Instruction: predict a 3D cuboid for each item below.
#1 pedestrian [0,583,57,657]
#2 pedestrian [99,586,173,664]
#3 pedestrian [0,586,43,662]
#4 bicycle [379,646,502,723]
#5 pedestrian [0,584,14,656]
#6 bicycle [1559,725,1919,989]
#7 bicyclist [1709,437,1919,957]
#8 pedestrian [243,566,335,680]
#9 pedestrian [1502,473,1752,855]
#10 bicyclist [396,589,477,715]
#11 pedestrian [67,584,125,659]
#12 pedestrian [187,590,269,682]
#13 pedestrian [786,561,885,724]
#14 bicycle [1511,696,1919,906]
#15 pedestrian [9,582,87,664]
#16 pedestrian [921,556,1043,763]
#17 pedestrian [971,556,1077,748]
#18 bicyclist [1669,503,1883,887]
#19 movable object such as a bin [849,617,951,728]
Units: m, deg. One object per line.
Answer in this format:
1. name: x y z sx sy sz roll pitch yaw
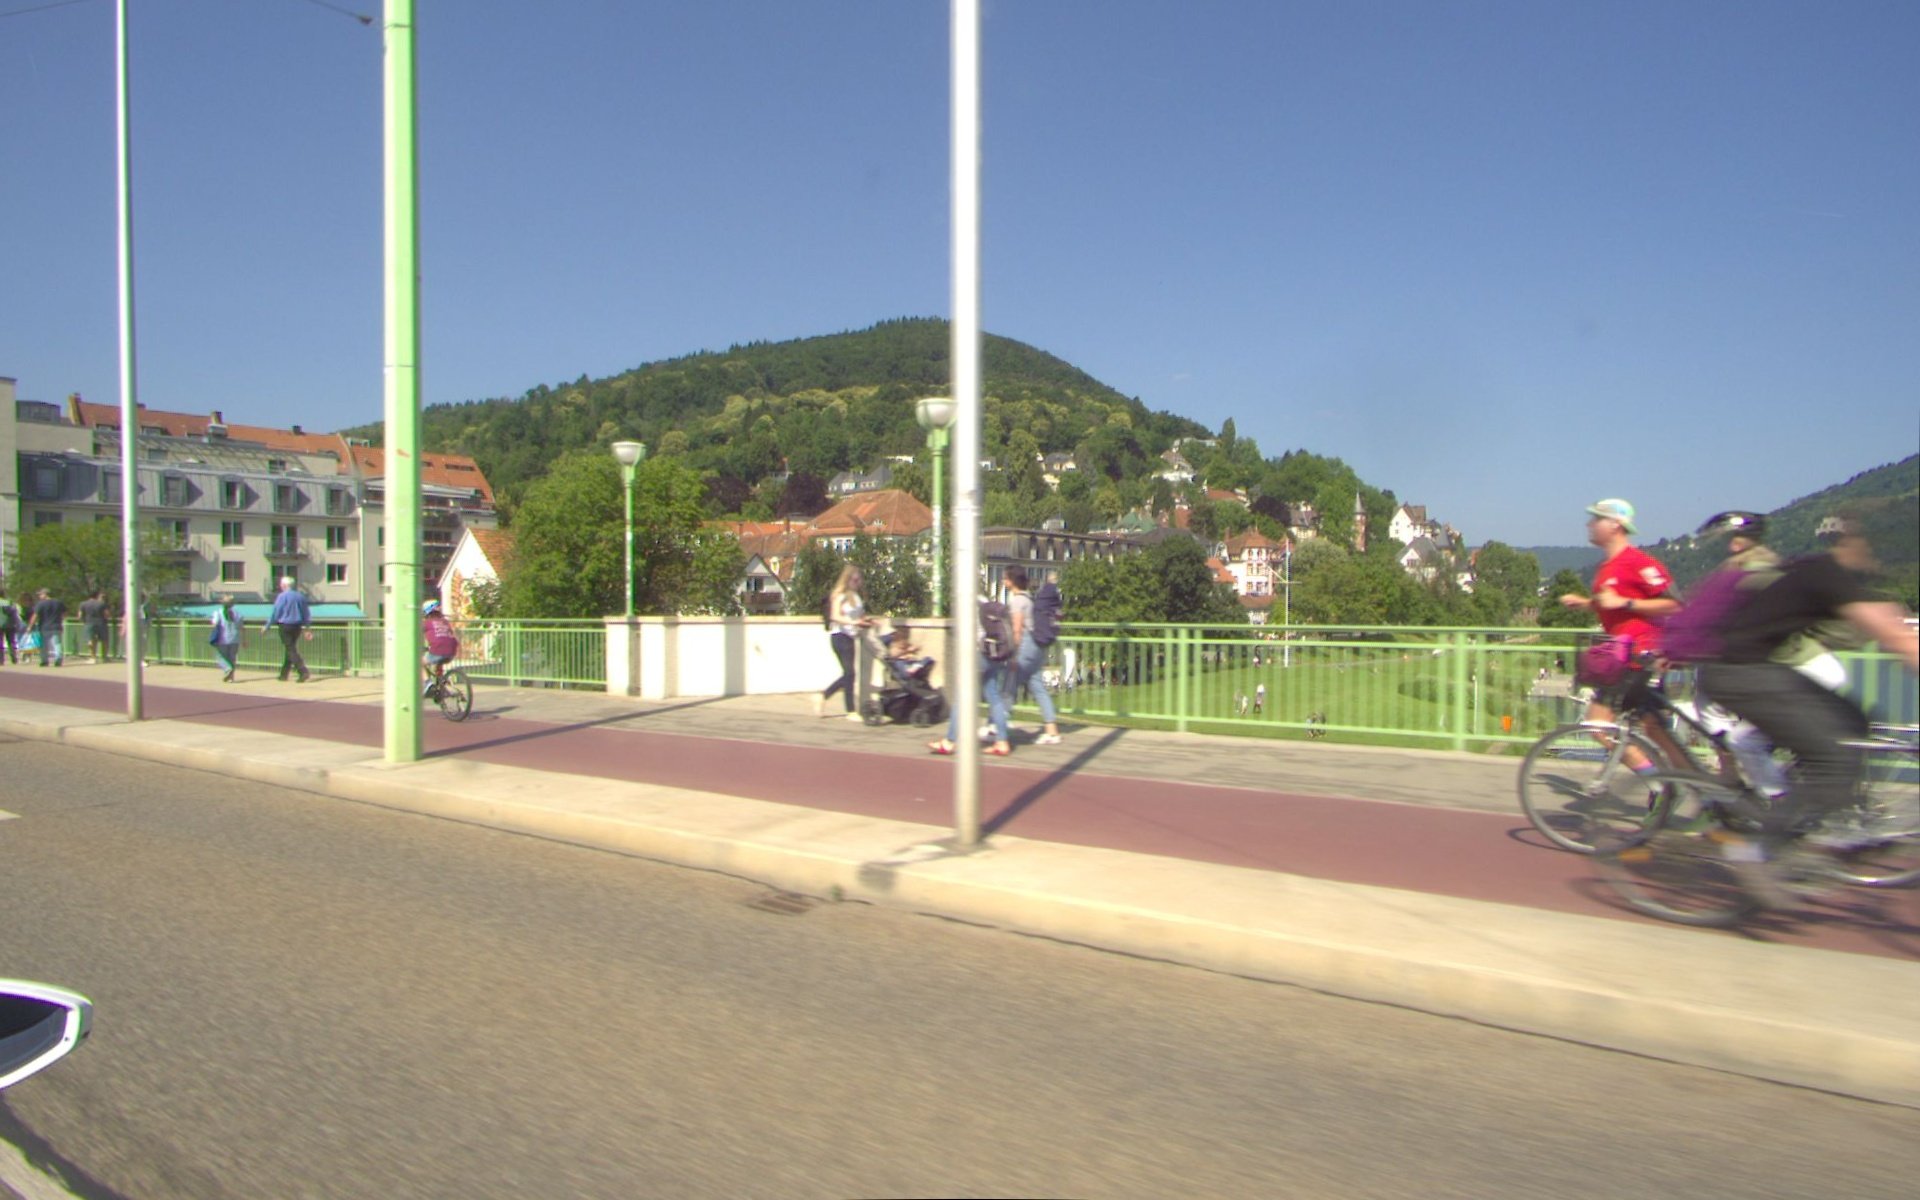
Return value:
1. pedestrian: -22.980 0.486 24.697 1.001 1.770 0.737 0 2 32
2. pedestrian: -18.342 0.539 22.302 1.067 1.685 0.945 0 2 32
3. pedestrian: -22.313 0.554 23.570 1.058 1.741 0.752 0 2 32
4. bicycle: -6.048 0.956 11.625 1.637 0.776 0.512 0 2 33
5. pedestrian: -24.835 0.512 25.549 1.001 1.802 0.737 0 2 32
6. bicycle: 3.342 0.951 3.780 1.840 0.776 0.592 0 1 33
7. bicyclist: 3.294 0.334 3.803 0.662 1.793 0.585 0 2 33
8. pedestrian: -11.697 0.385 17.468 1.121 1.923 0.923 0 1 32
9. pedestrian: 3.769 0.329 5.745 1.111 1.951 0.809 0 2 32
10. bicyclist: -6.070 0.587 11.614 0.659 1.402 0.532 0 2 33
11. pedestrian: -20.647 0.510 23.937 1.001 1.742 0.737 0 2 32
12. pedestrian: -12.861 0.603 17.598 0.919 1.551 0.827 0 2 32
13. pedestrian: -1.376 0.452 11.098 0.847 1.729 0.661 0 2 32
14. bicycle: 3.728 0.923 4.858 1.838 0.776 0.592 0 1 30
15. pedestrian: -20.640 0.505 22.671 1.190 1.802 0.975 0 2 32
16. pedestrian: 0.191 0.479 8.596 0.813 1.681 0.661 0 2 32
17. pedestrian: 0.598 0.453 9.208 0.735 1.681 0.665 0 2 32
18. bicyclist: 3.842 0.414 4.774 0.691 1.673 0.585 0 2 30
19. movable object such as a bin: -0.636 0.745 10.635 0.920 1.105 0.580 0 1 32
